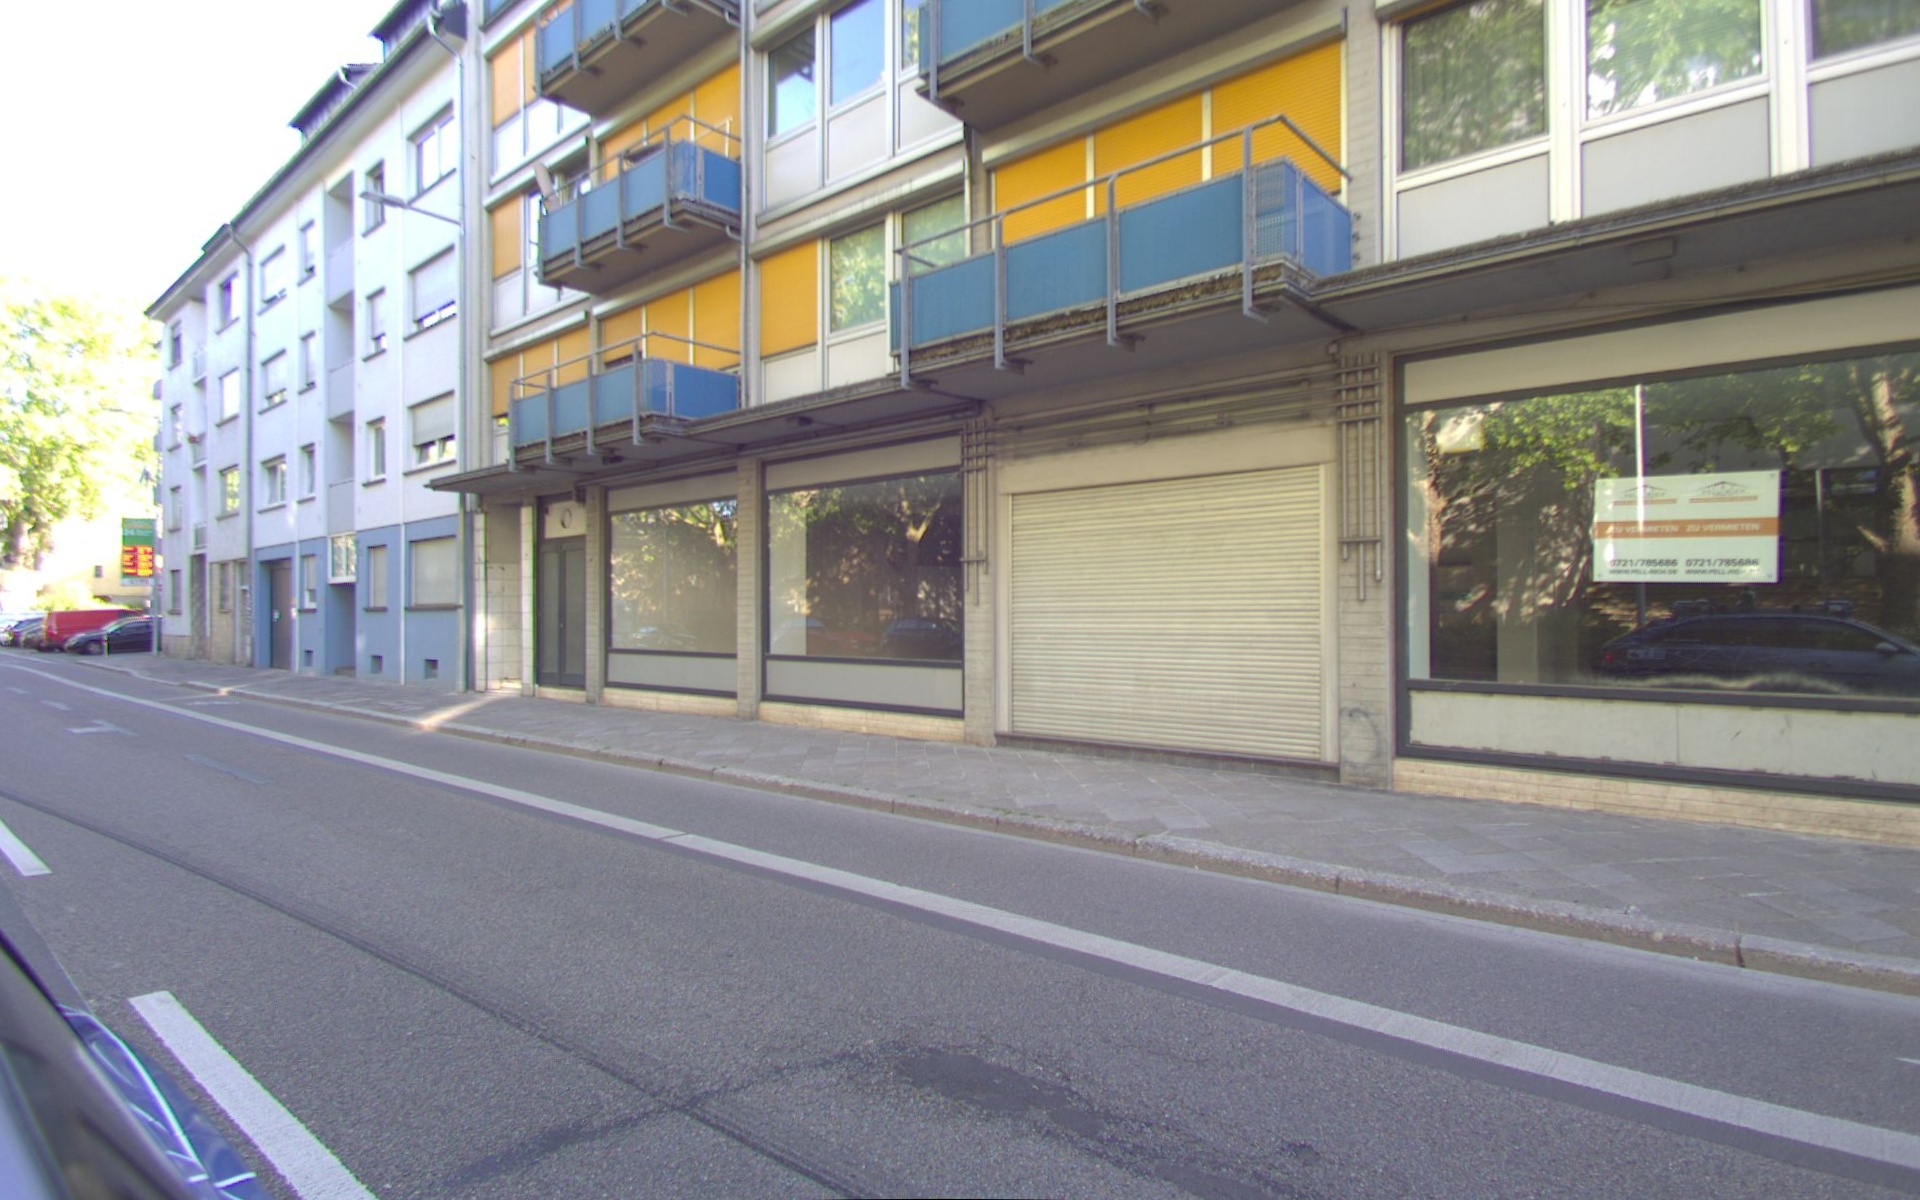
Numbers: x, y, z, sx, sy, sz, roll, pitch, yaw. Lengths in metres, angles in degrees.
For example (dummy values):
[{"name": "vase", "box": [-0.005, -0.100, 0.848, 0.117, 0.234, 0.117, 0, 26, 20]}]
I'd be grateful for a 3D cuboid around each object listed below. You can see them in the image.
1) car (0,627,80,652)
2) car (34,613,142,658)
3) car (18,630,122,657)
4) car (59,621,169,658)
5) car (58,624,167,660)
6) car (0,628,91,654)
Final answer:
[{"name": "car", "box": [-52.244, 2.233, 57.500, 1.345, 1.254, 3.228, -1, 0, 43]}, {"name": "car", "box": [-40.636, 1.633, 47.218, 1.488, 1.923, 3.642, -4, -2, 39]}, {"name": "car", "box": [-42.798, 2.059, 48.733, 1.345, 1.137, 3.638, -1, 0, 43]}, {"name": "car", "box": [-38.177, 1.753, 45.718, 1.490, 1.523, 3.638, -1, 0, 43]}, {"name": "car", "box": [-36.661, 1.796, 43.838, 1.490, 1.398, 3.462, -1, 0, 43]}, {"name": "car", "box": [-50.430, 2.226, 55.870, 1.345, 1.254, 3.638, -1, 0, 43]}]
